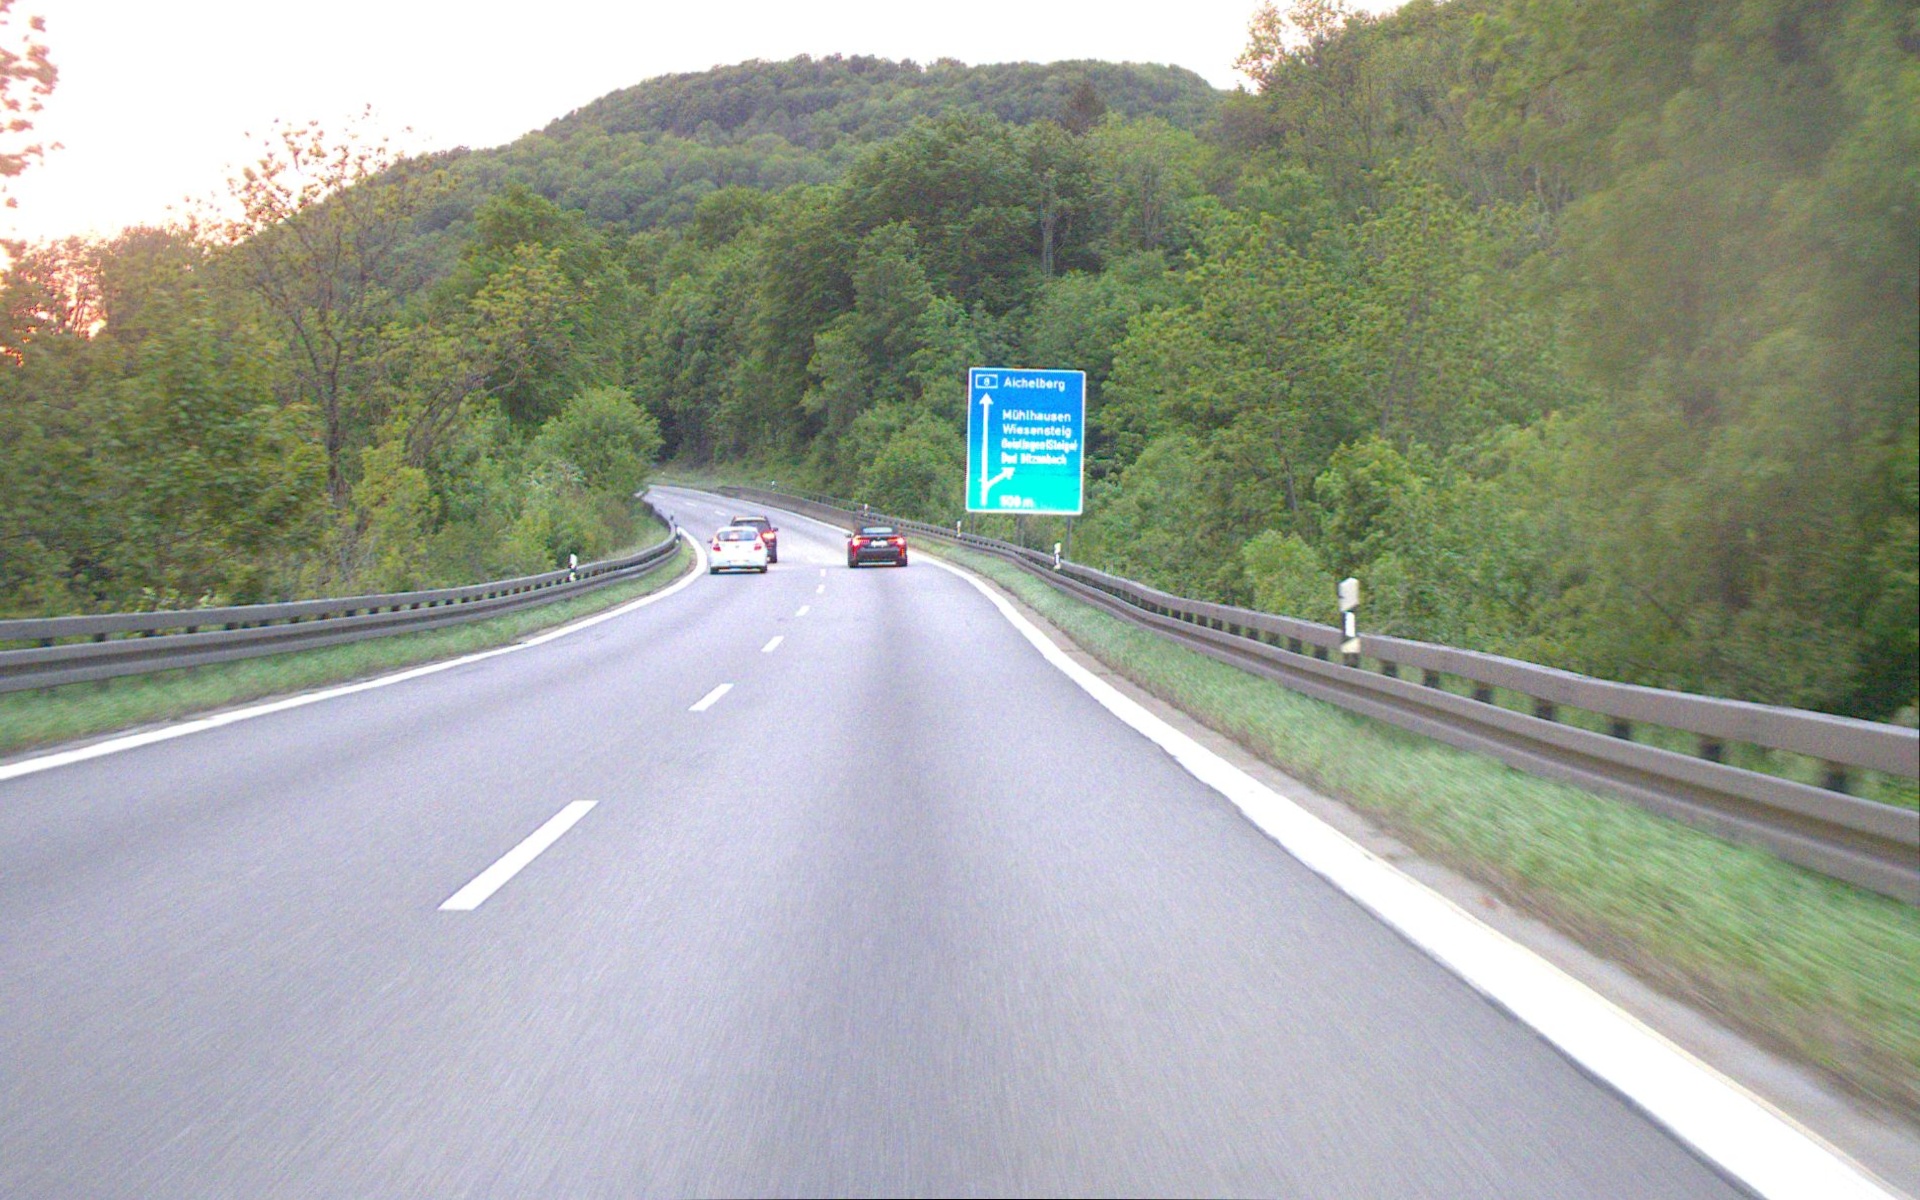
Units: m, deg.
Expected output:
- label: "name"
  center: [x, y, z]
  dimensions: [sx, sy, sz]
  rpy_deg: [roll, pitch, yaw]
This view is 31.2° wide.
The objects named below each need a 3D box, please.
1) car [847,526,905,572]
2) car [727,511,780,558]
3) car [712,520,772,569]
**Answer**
- label: "car"
  center: [-2.757, -1.686, 112.985]
  dimensions: [1.878, 1.461, 4.000]
  rpy_deg: [0, 1, -1]
- label: "car"
  center: [-7.260, -2.333, 121.325]
  dimensions: [1.718, 1.629, 4.000]
  rpy_deg: [0, 1, -1]
- label: "car"
  center: [-6.870, -1.766, 108.411]
  dimensions: [1.718, 1.496, 4.000]
  rpy_deg: [0, 1, -1]
